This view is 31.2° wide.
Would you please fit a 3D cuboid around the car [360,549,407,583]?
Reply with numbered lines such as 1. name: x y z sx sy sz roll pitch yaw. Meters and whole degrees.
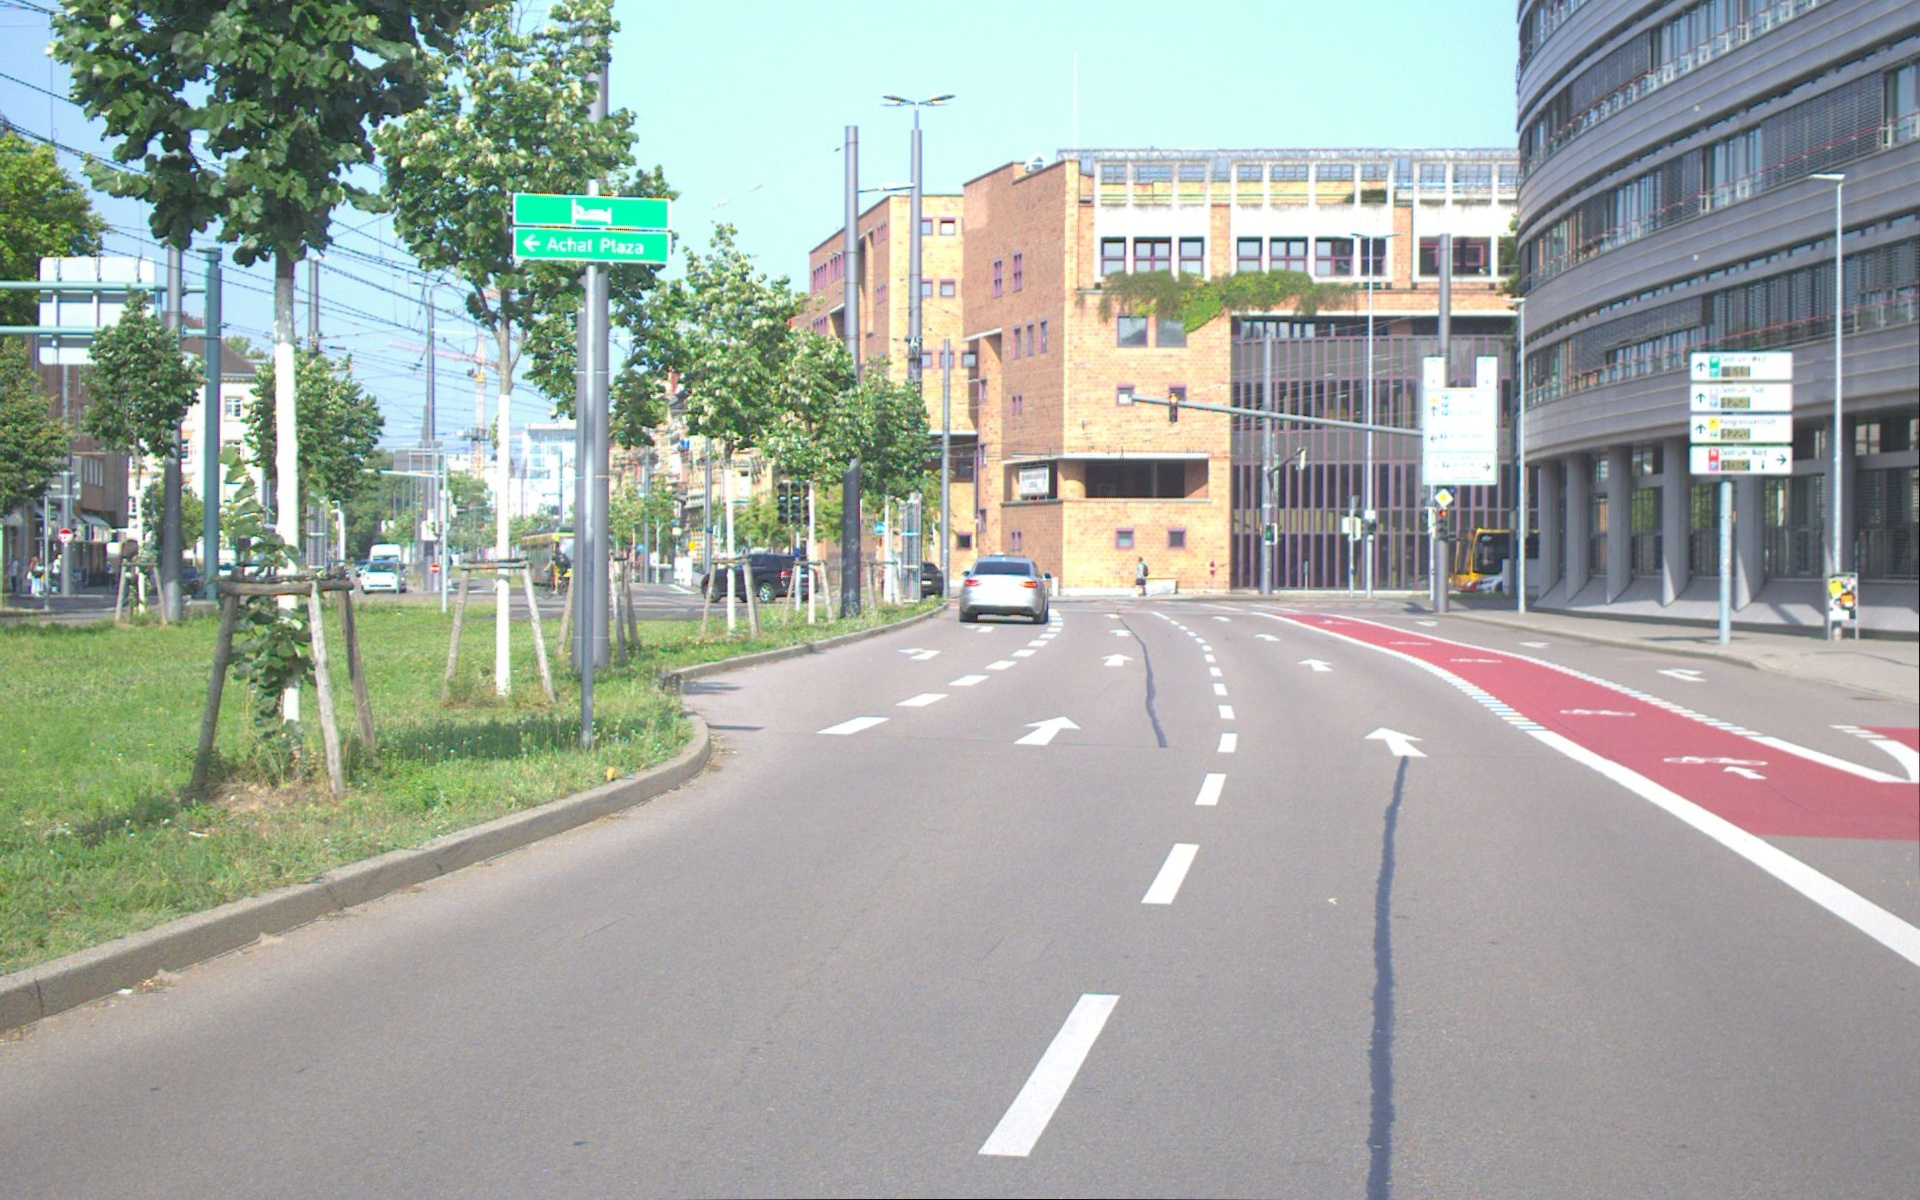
1. car: -26.708 -1.598 159.321 1.729 1.536 3.448 0 1 -2

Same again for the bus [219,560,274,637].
1. bus: -37.909 -0.009 182.932 2.745 3.908 12.220 0 -1 -11

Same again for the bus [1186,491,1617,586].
1. bus: 18.330 -2.566 143.489 17.610 3.797 2.865 0 -1 1

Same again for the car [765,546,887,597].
1. car: -4.640 -0.992 119.587 1.998 1.673 3.990 -1 -1 43

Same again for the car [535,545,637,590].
1. car: -13.947 -1.230 128.481 3.612 1.618 1.868 1 1 -1

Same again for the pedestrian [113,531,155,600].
1. pedestrian: -24.376 -1.007 101.484 1.155 2.007 0.776 0 -1 -11

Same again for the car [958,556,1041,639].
1. car: 0.899 -0.037 75.546 1.705 1.749 3.890 0 -1 2

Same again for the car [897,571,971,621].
1. car: -1.107 -0.155 144.219 1.993 2.007 4.001 1 -1 -18

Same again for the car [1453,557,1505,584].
1. car: 21.138 -1.203 140.152 1.951 0.955 1.094 2 -2 1
